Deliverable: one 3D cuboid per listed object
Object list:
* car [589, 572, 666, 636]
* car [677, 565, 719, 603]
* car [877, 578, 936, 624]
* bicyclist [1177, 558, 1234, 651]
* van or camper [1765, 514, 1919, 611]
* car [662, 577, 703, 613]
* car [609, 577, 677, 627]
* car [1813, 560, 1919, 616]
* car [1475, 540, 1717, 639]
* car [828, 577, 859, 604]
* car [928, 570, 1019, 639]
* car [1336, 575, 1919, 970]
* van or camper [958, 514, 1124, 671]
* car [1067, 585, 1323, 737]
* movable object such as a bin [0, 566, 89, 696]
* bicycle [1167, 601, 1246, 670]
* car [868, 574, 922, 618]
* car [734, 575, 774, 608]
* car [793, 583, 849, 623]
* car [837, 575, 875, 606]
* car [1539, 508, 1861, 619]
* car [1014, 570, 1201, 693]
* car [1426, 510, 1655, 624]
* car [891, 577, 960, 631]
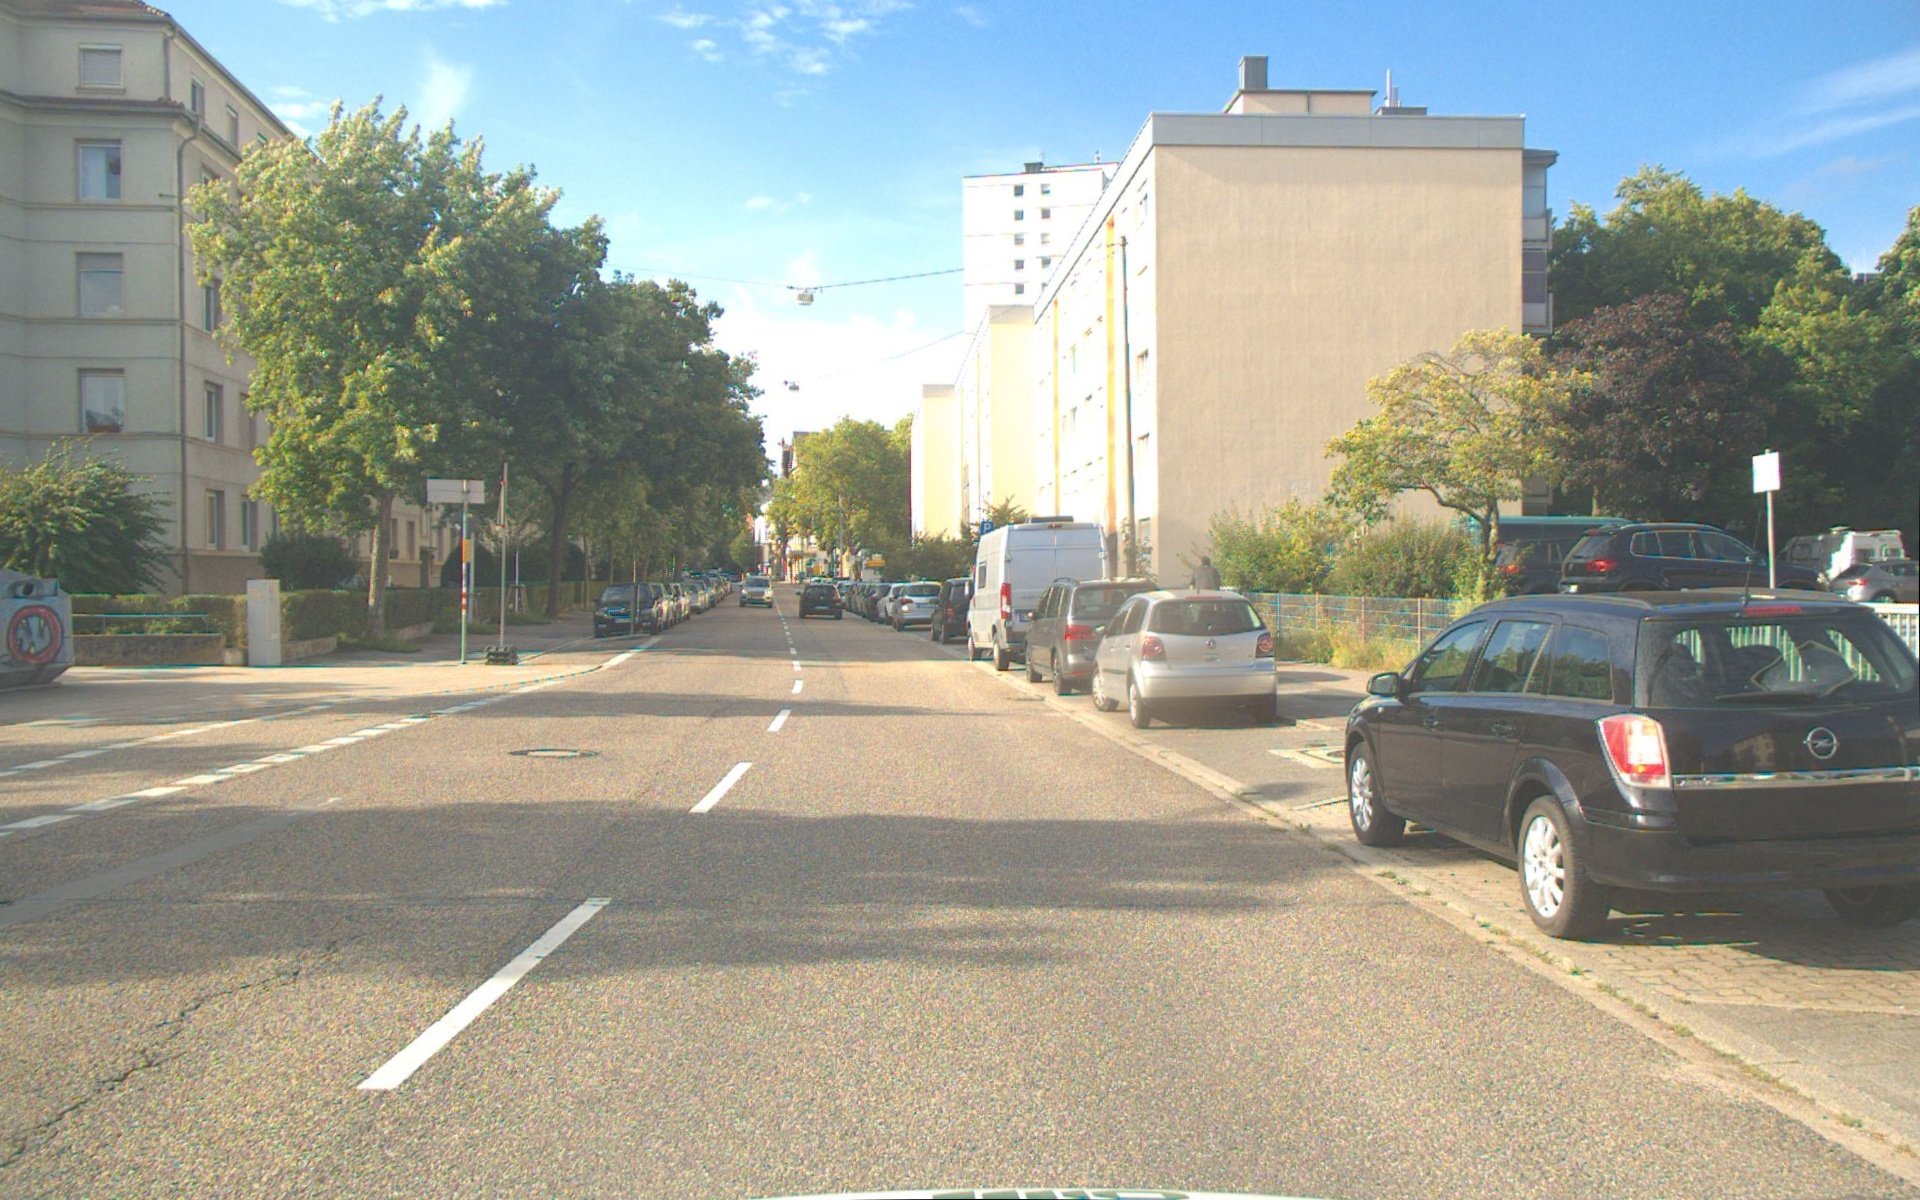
[{"bbox_3d":[-9.349,0.076,46.723,1.957,1.668,3.991,-1,1,-10],"label":"car"},{"bbox_3d":[-14.703,-0.899,93.036,1.954,2.048,3.997,-1,1,-4],"label":"car"},{"bbox_3d":[-1.991,0.020,60.338,1.954,1.556,3.997,-1,1,-4],"label":"car"},{"bbox_3d":[4.184,0.073,28.212,0.722,1.540,0.874,-3,0,-4],"label":"bicyclist"},{"bbox_3d":[28.106,-1.158,52.772,2.282,2.925,5.120,1,0,-1],"label":"van or camper"},{"bbox_3d":[-12.835,-0.268,76.456,1.774,1.588,3.426,-2,1,-10],"label":"car"},{"bbox_3d":[-9.928,0.022,52.058,1.957,1.476,3.896,-1,1,-10],"label":"car"},{"bbox_3d":[24.510,-0.337,42.793,3.910,1.352,1.998,-1,1,-6],"label":"car"},{"bbox_3d":[12.241,-0.223,32.023,3.905,1.769,2.000,-1,1,0],"label":"car"},{"bbox_3d":[-7.651,-0.642,108.452,1.954,1.713,3.997,-1,1,-4],"label":"car"},{"bbox_3d":[0.290,0.072,41.903,1.954,1.601,3.997,-1,1,-4],"label":"car"},{"bbox_3d":[3.364,0.655,8.615,1.683,1.522,4.266,-1,0,-2],"label":"car"},{"bbox_3d":[1.400,-0.173,31.026,2.167,2.652,5.363,-1,1,-7],"label":"van or camper"},{"bbox_3d":[2.648,0.628,19.887,1.976,1.500,4.797,-3,0,-5],"label":"car"},{"bbox_3d":[-14.007,0.390,23.080,3.037,1.737,1.411,1,0,10],"label":"movable object such as a bin"},{"bbox_3d":[4.200,0.580,28.350,0.725,1.053,2.760,-3,1,-4],"label":"bicycle"},{"bbox_3d":[-2.556,-0.190,64.707,1.954,1.601,3.997,-1,1,-4],"label":"car"},{"bbox_3d":[-11.370,-0.492,91.086,2.018,1.692,3.918,-2,1,-10],"label":"car"},{"bbox_3d":[-5.763,0.105,68.277,1.957,1.598,3.991,0,1,-10],"label":"car"},{"bbox_3d":[-5.645,-0.532,89.711,1.954,1.601,3.997,-1,1,-4],"label":"car"},{"bbox_3d":[11.994,-0.596,27.019,4.357,1.650,2.000,-1,1,0],"label":"car"},{"bbox_3d":[2.118,0.394,25.034,1.955,1.644,4.402,-1,1,-6],"label":"car"},{"bbox_3d":[12.015,-0.687,34.421,4.035,2.224,2.000,-1,1,0],"label":"car"},{"bbox_3d":[-1.129,0.085,52.384,1.954,1.601,3.997,-1,1,-4],"label":"car"}]
